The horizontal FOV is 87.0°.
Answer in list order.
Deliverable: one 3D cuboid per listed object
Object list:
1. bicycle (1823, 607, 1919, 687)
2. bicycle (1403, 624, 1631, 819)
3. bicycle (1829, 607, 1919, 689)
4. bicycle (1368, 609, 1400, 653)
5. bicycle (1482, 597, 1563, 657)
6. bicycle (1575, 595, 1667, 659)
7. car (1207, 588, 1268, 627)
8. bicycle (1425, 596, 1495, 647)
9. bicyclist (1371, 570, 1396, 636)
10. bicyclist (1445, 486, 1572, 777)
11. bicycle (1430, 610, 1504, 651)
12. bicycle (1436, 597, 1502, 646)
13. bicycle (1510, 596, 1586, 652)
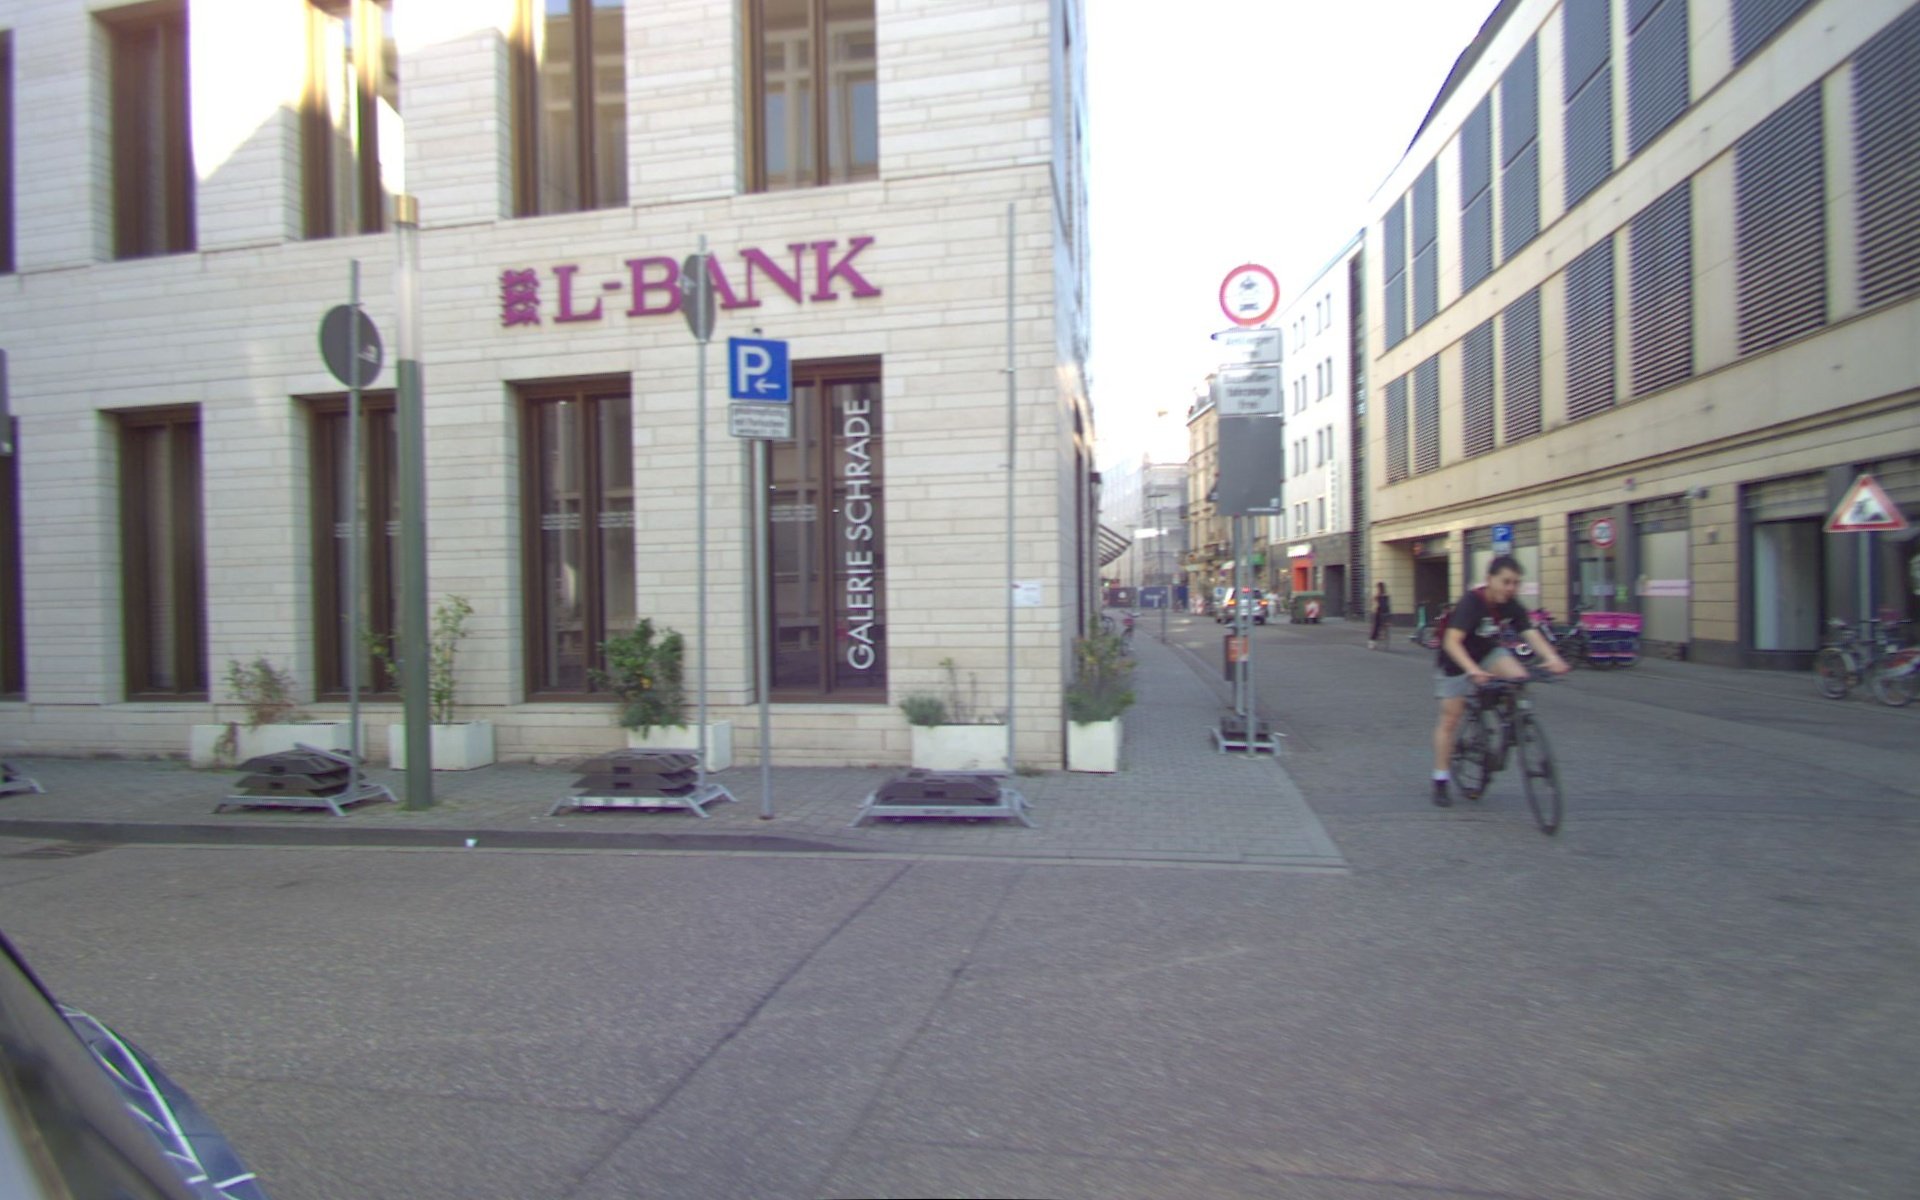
[{"bbox_3d":[12.519,0.625,13.470,1.514,1.041,0.349,-2,-1,33],"label":"bicycle"},{"bbox_3d":[3.422,0.682,6.403,0.504,0.981,1.819,-1,1,3],"label":"bicycle"},{"bbox_3d":[12.323,0.620,13.140,1.514,1.041,0.349,-2,-1,33],"label":"bicycle"},{"bbox_3d":[10.720,0.759,25.616,0.514,1.002,2.098,-1,1,17],"label":"bicycle"},{"bbox_3d":[12.154,0.573,21.914,1.512,1.259,0.349,0,1,28],"label":"bicycle"},{"bbox_3d":[13.300,0.533,20.392,1.505,1.259,0.351,-1,1,16],"label":"bicycle"},{"bbox_3d":[12.492,0.303,45.811,2.152,1.674,3.991,-1,1,8],"label":"car"},{"bbox_3d":[12.426,0.529,25.185,1.507,1.259,0.350,-1,1,20],"label":"bicycle"},{"bbox_3d":[10.651,0.078,25.443,0.493,1.637,0.628,-1,1,16],"label":"bicyclist"},{"bbox_3d":[3.424,0.188,6.346,0.495,1.744,0.551,-1,1,3],"label":"bicyclist"},{"bbox_3d":[12.019,0.717,24.026,1.506,0.960,0.351,-1,1,17],"label":"bicycle"},{"bbox_3d":[13.294,0.553,26.454,1.509,1.259,0.350,-1,1,24],"label":"bicycle"},{"bbox_3d":[13.746,0.551,23.686,1.512,1.259,0.349,0,1,28],"label":"bicycle"}]
